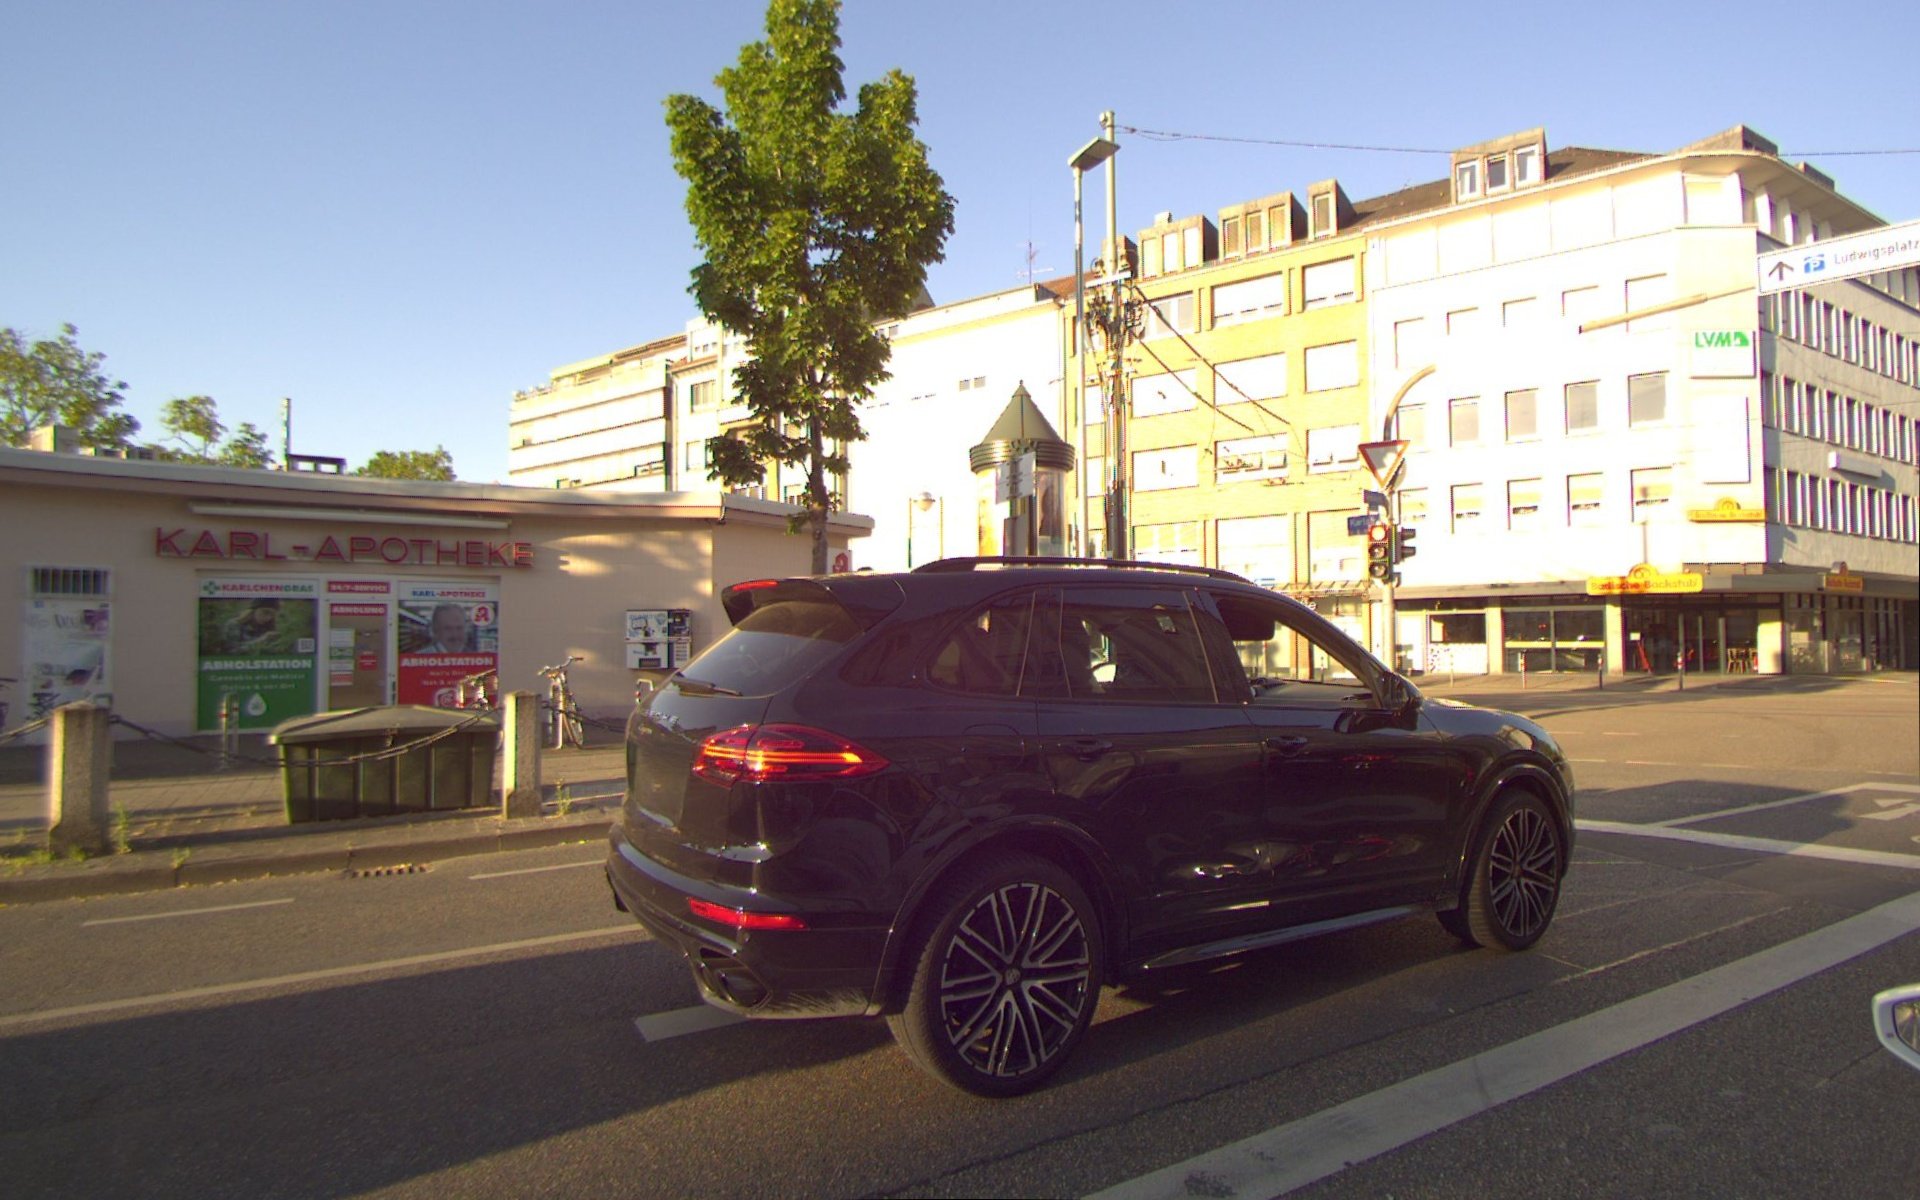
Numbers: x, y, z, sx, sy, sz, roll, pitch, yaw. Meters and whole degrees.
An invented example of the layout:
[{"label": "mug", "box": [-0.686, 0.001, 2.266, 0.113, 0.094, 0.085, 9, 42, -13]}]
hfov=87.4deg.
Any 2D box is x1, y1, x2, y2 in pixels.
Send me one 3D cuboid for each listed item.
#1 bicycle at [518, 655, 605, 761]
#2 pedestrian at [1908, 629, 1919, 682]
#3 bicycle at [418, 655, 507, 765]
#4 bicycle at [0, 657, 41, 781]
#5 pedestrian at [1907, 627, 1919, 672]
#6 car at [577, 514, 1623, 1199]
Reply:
[{"label": "bicycle", "box": [-5.387, 1.378, 13.484, 0.778, 1.273, 2.433, 1, -3, -29]}, {"label": "pedestrian", "box": [28.812, 1.626, 29.551, 0.929, 1.557, 0.909, -1, -2, 6]}, {"label": "bicycle", "box": [-6.441, 1.353, 12.945, 0.938, 1.273, 1.997, 1, -3, -29]}, {"label": "bicycle", "box": [-10.329, 1.245, 10.495, 0.625, 1.273, 1.846, 1, -3, -29]}, {"label": "pedestrian", "box": [37.037, 1.885, 38.506, 0.862, 1.698, 0.819, 1, -3, -32]}, {"label": "car", "box": [0.807, 0.722, 4.563, 4.510, 1.736, 1.939, 1, -3, -32]}]
